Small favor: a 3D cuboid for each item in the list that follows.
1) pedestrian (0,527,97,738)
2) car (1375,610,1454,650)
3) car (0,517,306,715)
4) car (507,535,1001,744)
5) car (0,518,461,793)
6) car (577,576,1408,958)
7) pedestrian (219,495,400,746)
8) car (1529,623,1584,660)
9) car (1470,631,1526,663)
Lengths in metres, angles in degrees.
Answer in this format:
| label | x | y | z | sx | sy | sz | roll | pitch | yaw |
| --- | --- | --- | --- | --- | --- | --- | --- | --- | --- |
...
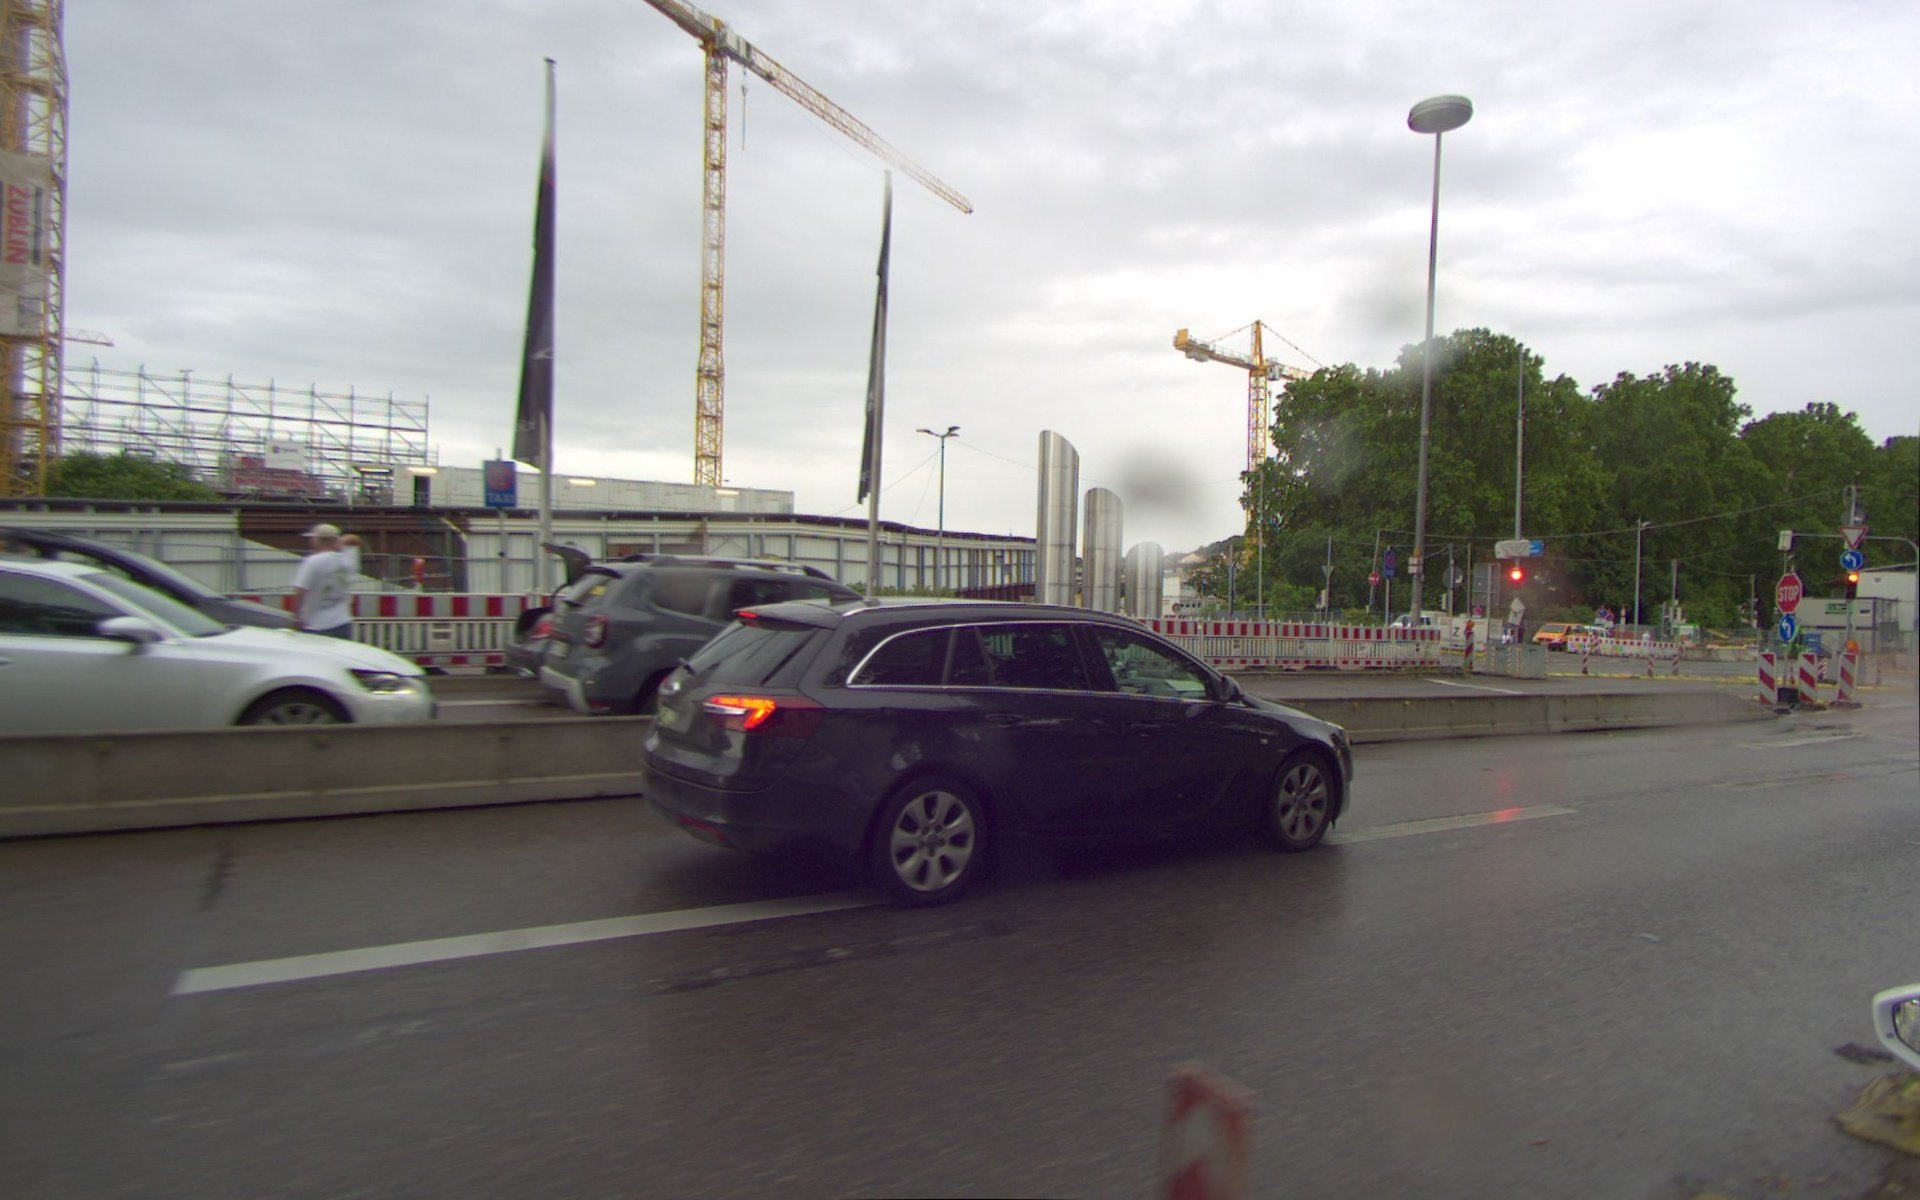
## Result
| label | x | y | z | sx | sy | sz | roll | pitch | yaw |
| --- | --- | --- | --- | --- | --- | --- | --- | --- | --- |
| pedestrian | -8.056 | 0.259 | 8.426 | 1.014 | 1.704 | 0.831 | 2 | 0 | -25 |
| car | 33.618 | 2.244 | 74.262 | 5.717 | 2.737 | 2.374 | 2 | -2 | -28 |
| car | -8.398 | 0.117 | 9.141 | 4.012 | 1.651 | 1.704 | 2 | 0 | -33 |
| car | -1.840 | 0.385 | 9.476 | 4.112 | 1.550 | 1.980 | 3 | -2 | -36 |
| car | -6.079 | 0.337 | 6.625 | 4.822 | 1.588 | 1.983 | 3 | -2 | -32 |
| car | 0.398 | 0.736 | 6.090 | 4.798 | 1.528 | 1.867 | 2 | 0 | -32 |
| pedestrian | -5.644 | 0.171 | 8.782 | 0.819 | 2.040 | 1.028 | 2 | 0 | 6 |
| car | 40.633 | 2.843 | 68.426 | 4.480 | 2.393 | 1.900 | 3 | -2 | -40 |
| car | 36.854 | 3.224 | 68.775 | 3.963 | 2.040 | 1.903 | 3 | -2 | -37 |
